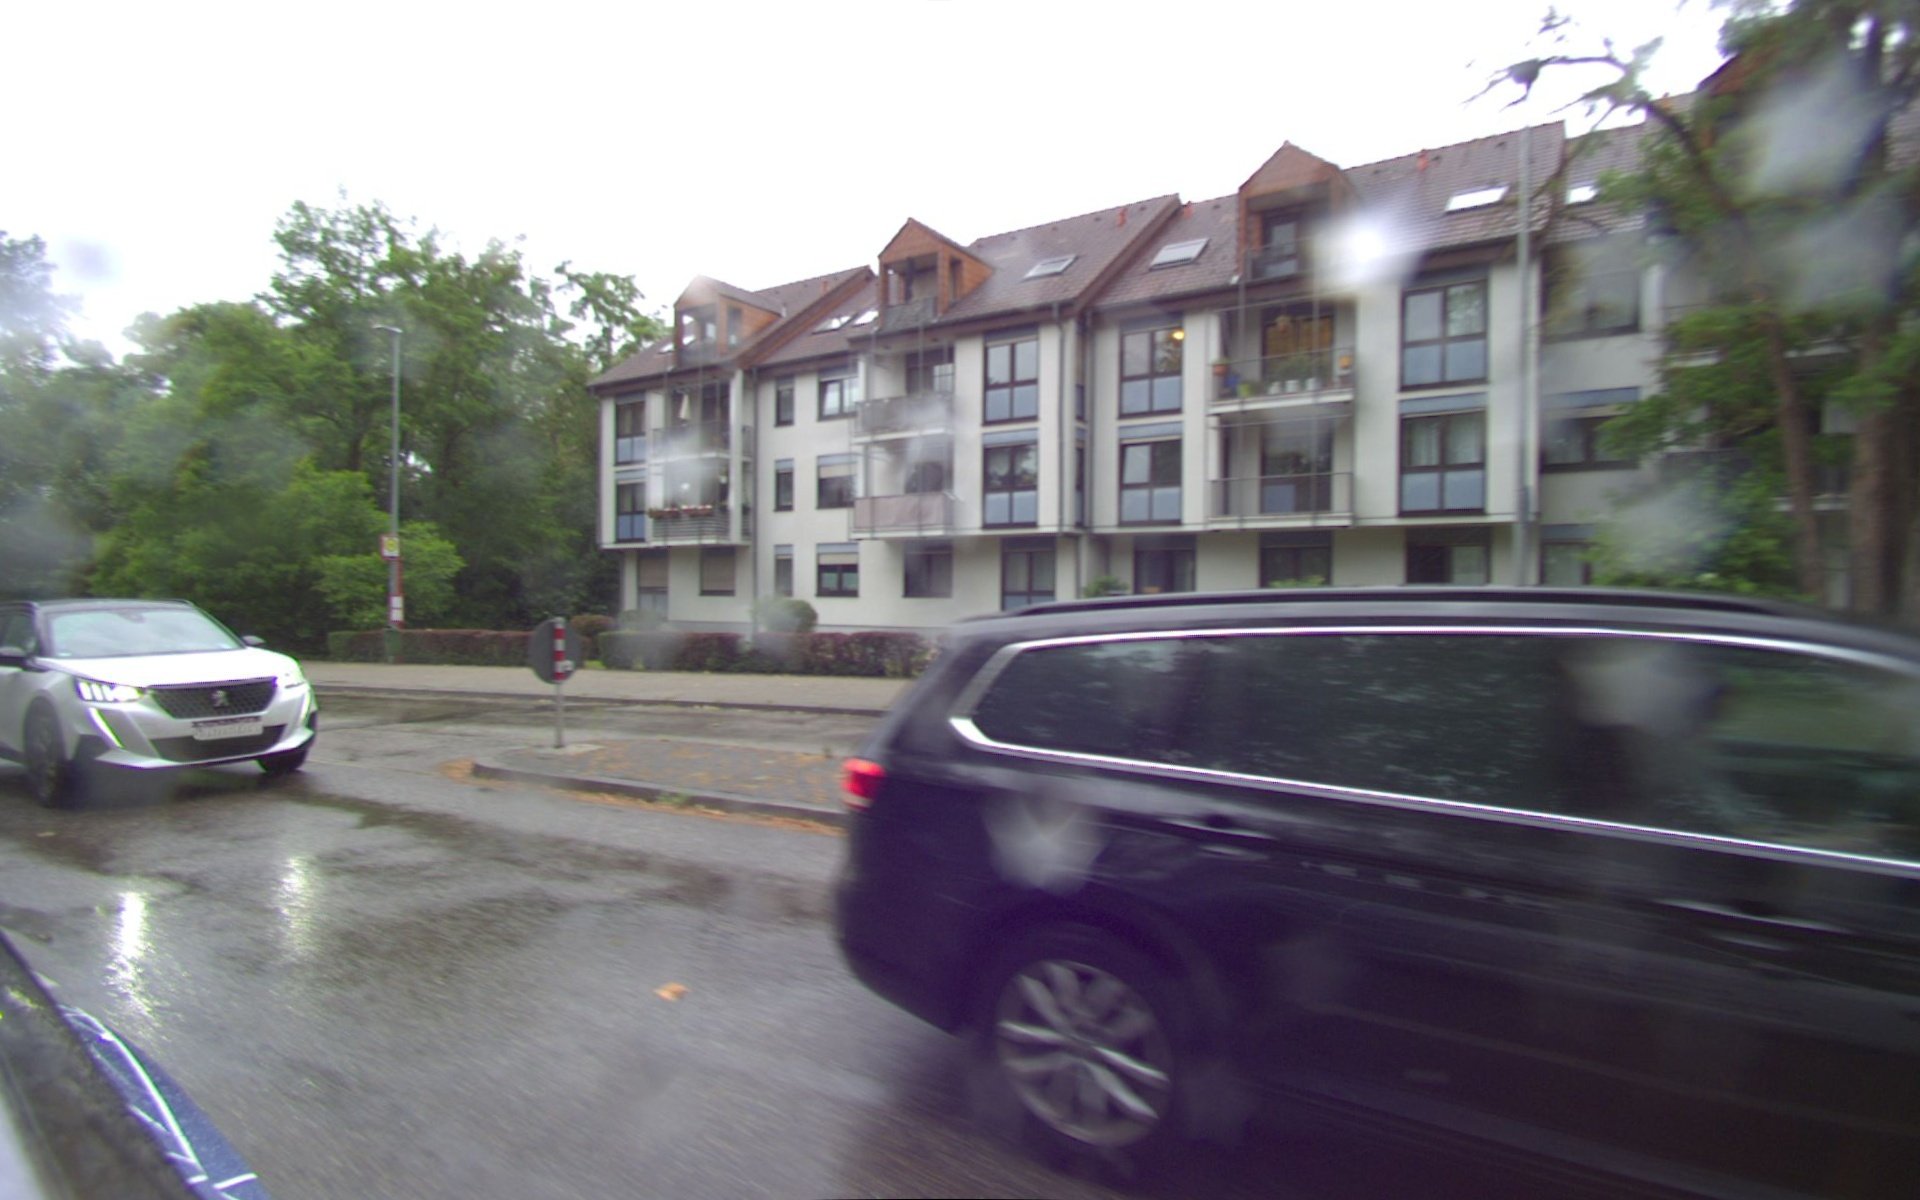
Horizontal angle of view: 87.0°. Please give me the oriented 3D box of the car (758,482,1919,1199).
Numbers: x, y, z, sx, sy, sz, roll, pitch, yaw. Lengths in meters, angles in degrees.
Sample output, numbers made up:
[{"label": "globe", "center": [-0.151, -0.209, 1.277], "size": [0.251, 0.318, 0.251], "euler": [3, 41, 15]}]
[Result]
[{"label": "car", "center": [1.887, 0.511, 2.400], "size": [4.644, 1.467, 1.818], "euler": [-2, 1, 33]}]

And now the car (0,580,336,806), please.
[{"label": "car", "center": [-7.492, 0.679, 8.879], "size": [4.354, 1.547, 1.739], "euler": [-1, -1, 33]}]
